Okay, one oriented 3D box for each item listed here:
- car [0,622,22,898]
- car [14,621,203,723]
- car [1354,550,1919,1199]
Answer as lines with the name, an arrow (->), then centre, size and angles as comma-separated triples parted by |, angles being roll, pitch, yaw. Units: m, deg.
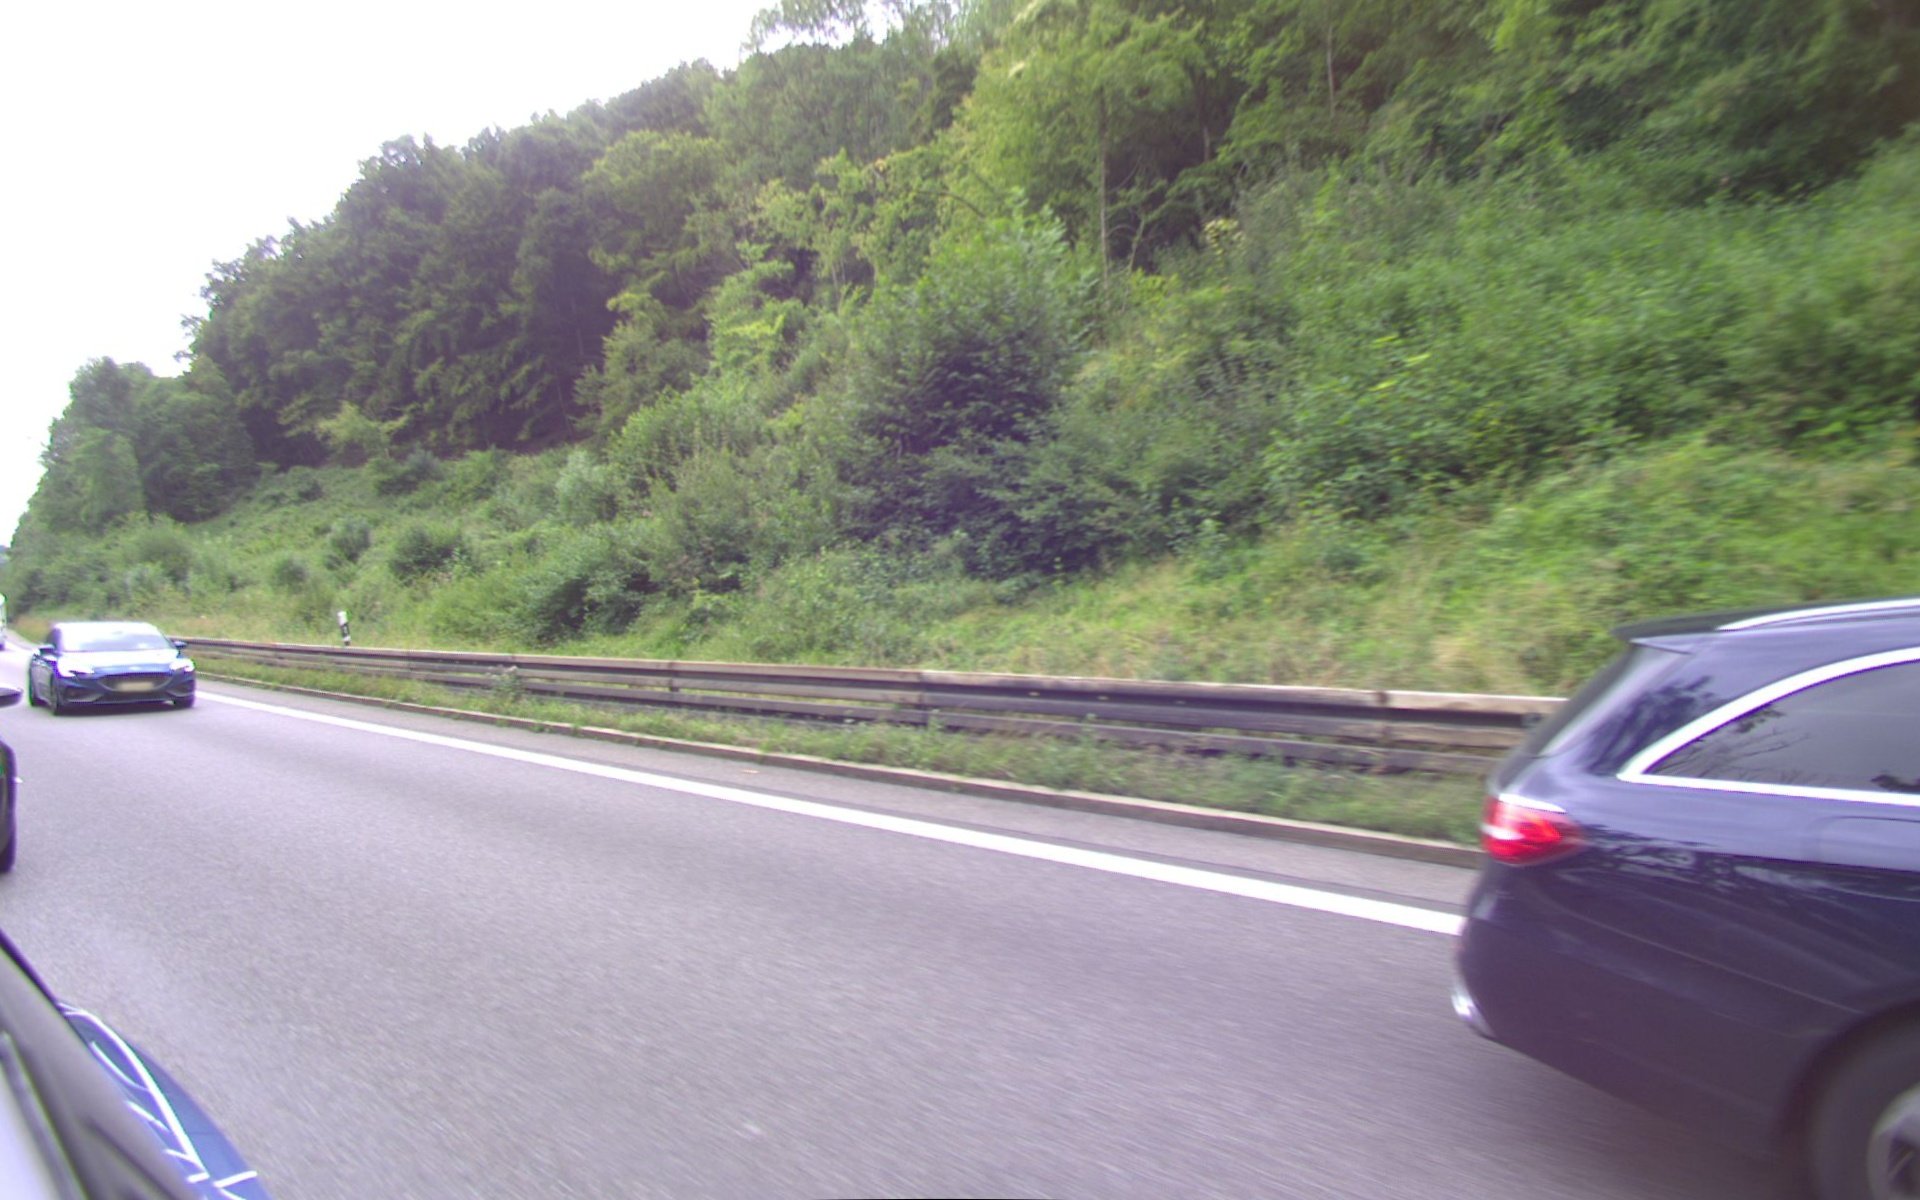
car -> -7.127, 0.885, 6.167 | 4.400, 1.428, 1.728 | -2, -1, 43
car -> -14.525, 1.109, 17.174 | 4.553, 1.480, 1.817 | -1, -1, 41
car -> 3.497, 0.603, 1.519 | 5.120, 1.474, 1.742 | -2, -1, 41
